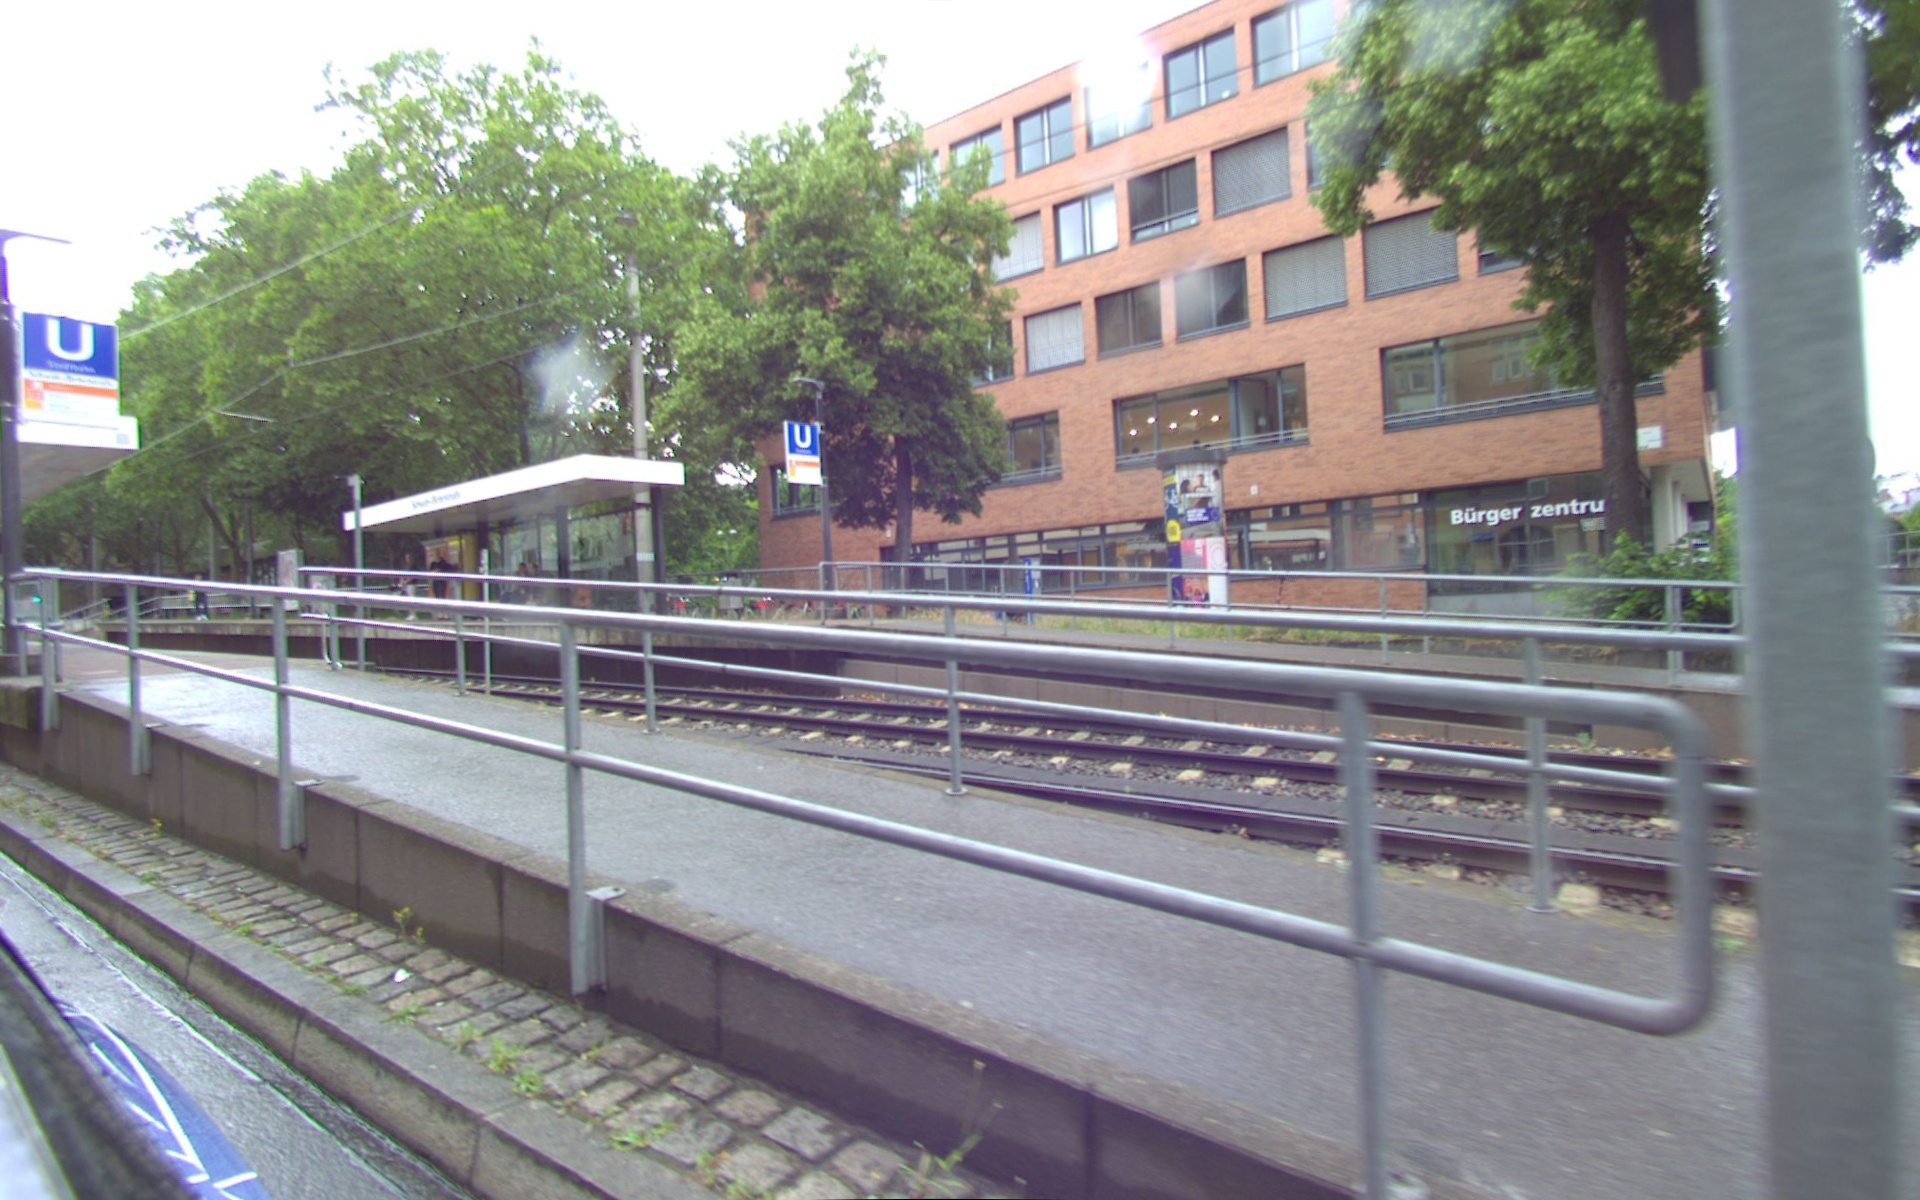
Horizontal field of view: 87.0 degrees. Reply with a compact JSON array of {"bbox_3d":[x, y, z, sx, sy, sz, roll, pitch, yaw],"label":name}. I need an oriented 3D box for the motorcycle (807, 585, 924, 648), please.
[{"bbox_3d":[-2.601,0.426,28.628,1.004,1.617,3.830,-1,1,36],"label":"motorcycle"}]

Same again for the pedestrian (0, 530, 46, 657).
[{"bbox_3d":[-12.187,-0.078,12.977,0.507,1.593,0.607,-1,0,41],"label":"pedestrian"}]

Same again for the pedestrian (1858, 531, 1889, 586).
[{"bbox_3d":[34.402,-1.557,38.110,0.715,2.029,0.712,-1,-1,33],"label":"pedestrian"}]

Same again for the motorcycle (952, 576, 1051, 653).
[{"bbox_3d":[1.102,0.338,25.818,0.991,1.829,3.009,-1,1,36],"label":"motorcycle"}]

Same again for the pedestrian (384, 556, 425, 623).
[{"bbox_3d":[-13.973,-0.274,25.468,0.563,1.653,0.680,-2,1,36],"label":"pedestrian"}]

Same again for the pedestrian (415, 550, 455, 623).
[{"bbox_3d":[-12.773,-0.321,24.631,0.704,1.728,0.557,-2,0,36],"label":"pedestrian"}]

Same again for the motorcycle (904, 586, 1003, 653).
[{"bbox_3d":[-0.131,0.481,27.043,1.004,1.640,3.031,-1,1,36],"label":"motorcycle"}]

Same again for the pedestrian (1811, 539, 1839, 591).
[{"bbox_3d":[34.296,-1.367,40.129,0.715,2.029,0.712,-1,-1,33],"label":"pedestrian"}]

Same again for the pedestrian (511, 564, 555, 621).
[{"bbox_3d":[-9.625,-0.166,22.818,0.563,1.249,0.697,-2,1,36],"label":"pedestrian"}]

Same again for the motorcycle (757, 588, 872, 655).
[{"bbox_3d":[-4.302,0.590,30.391,1.004,1.829,3.830,-1,1,36],"label":"motorcycle"}]

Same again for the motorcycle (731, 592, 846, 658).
[{"bbox_3d":[-5.203,0.724,31.097,1.004,1.829,3.830,-1,1,36],"label":"motorcycle"}]

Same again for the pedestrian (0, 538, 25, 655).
[{"bbox_3d":[-13.310,-0.049,13.896,0.507,1.593,0.607,-1,0,41],"label":"pedestrian"}]

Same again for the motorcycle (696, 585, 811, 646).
[{"bbox_3d":[-6.447,0.443,31.928,1.004,1.787,3.830,-1,1,36],"label":"motorcycle"}]

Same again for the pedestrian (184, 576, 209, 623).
[{"bbox_3d":[-27.420,-0.032,36.333,0.689,1.653,0.556,-2,1,44],"label":"pedestrian"}]

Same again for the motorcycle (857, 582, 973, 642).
[{"bbox_3d":[-1.175,0.283,27.984,1.004,1.499,3.830,-1,1,36],"label":"motorcycle"}]

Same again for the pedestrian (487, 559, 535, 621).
[{"bbox_3d":[-10.238,-0.223,23.092,0.563,1.373,0.770,-2,1,36],"label":"pedestrian"}]
